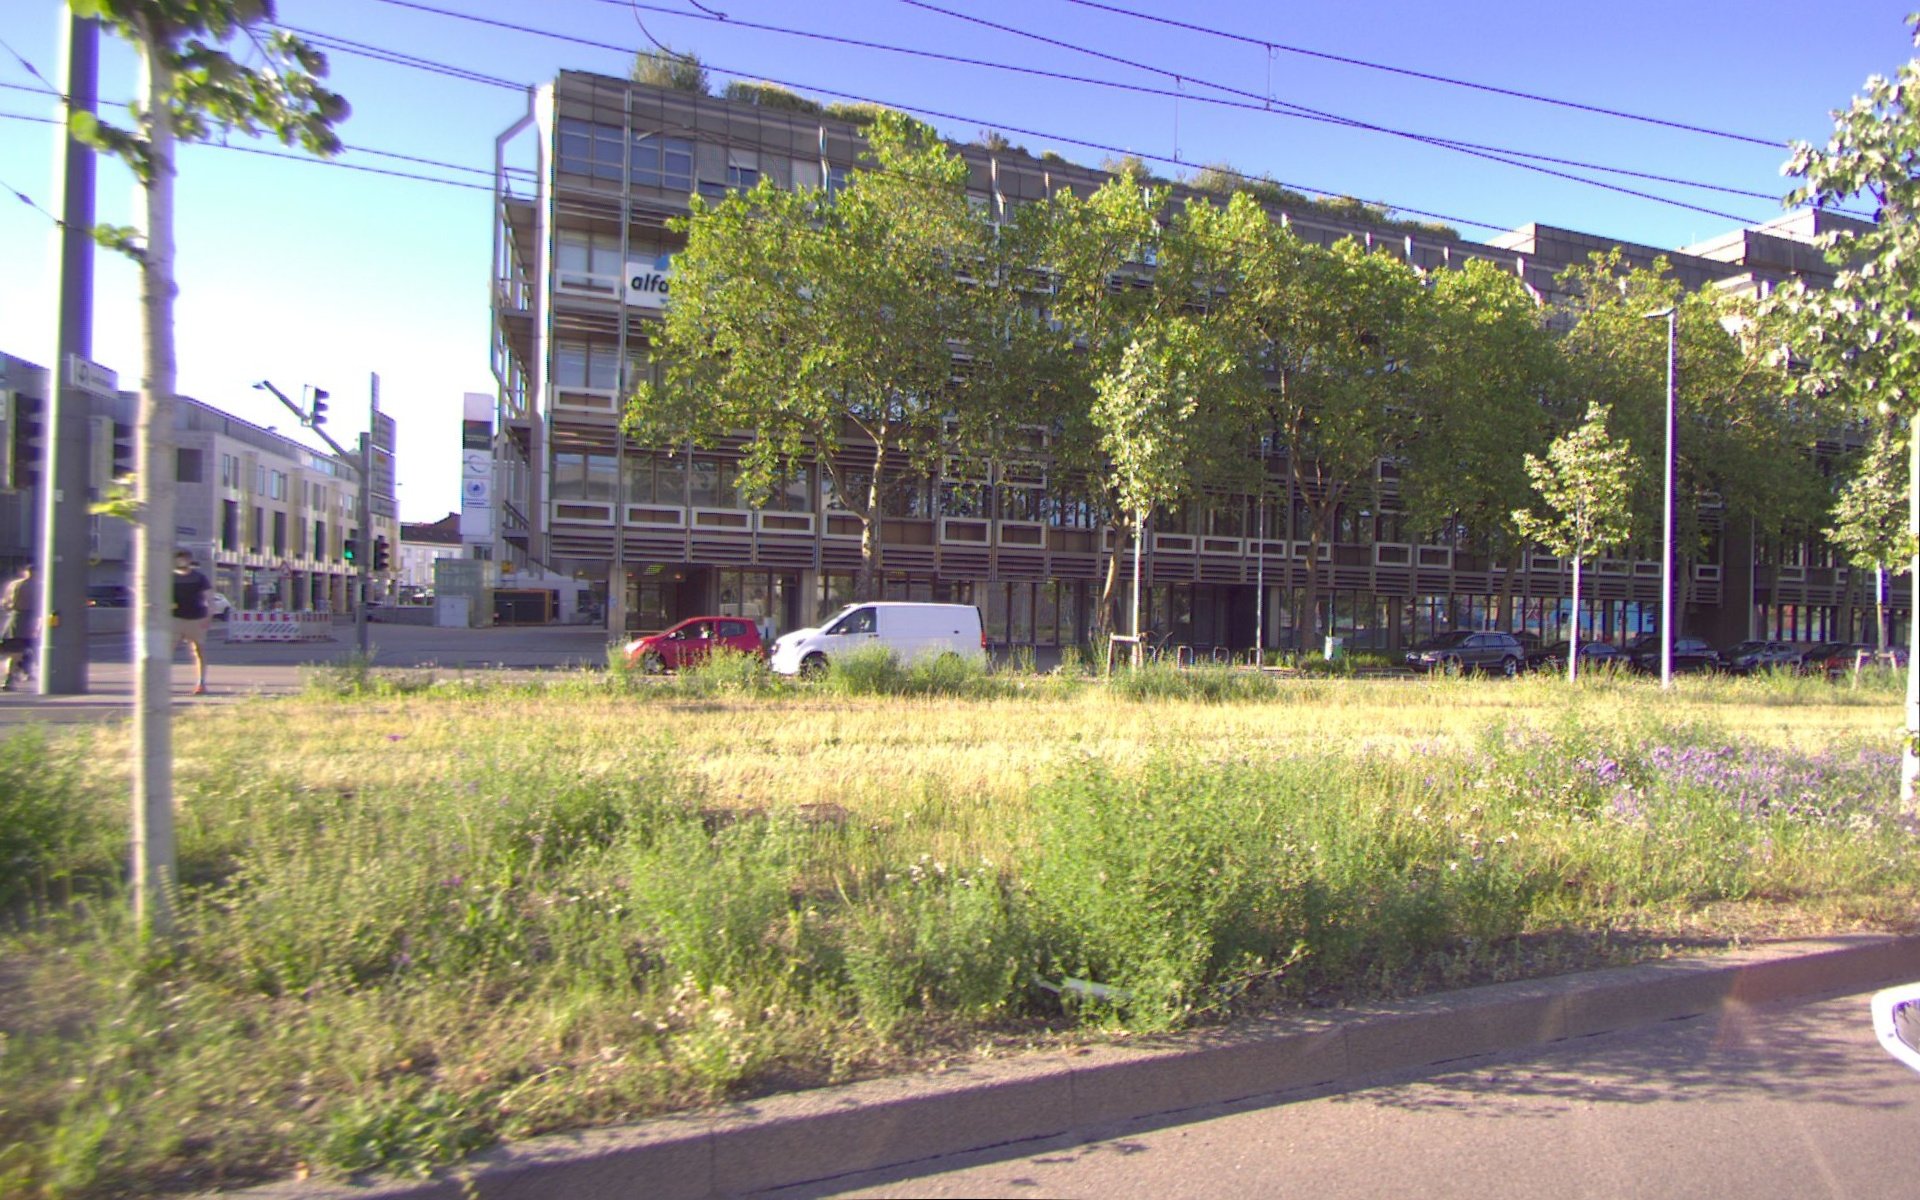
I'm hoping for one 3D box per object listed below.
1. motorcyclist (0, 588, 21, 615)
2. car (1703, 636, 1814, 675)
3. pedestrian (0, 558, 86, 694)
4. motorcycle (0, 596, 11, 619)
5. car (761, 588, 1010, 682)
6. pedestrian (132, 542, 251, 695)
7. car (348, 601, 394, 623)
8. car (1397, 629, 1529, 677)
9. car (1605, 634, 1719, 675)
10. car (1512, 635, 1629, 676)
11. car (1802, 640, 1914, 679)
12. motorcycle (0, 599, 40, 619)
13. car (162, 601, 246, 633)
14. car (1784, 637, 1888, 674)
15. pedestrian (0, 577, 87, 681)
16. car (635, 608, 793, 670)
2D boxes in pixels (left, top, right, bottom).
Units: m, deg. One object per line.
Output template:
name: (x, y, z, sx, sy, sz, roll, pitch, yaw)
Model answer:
motorcyclist: (-53.609, 0.074, 56.338, 1.024, 1.490, 0.912, 3, -1, -20)
car: (36.577, 2.545, 46.045, 4.292, 1.654, 1.910, 2, -2, -17)
pedestrian: (-12.461, 0.337, 13.502, 0.845, 1.767, 0.735, 2, 1, -21)
motorcycle: (-53.065, 0.348, 54.064, 2.636, 1.233, 0.912, 4, -1, -20)
car: (-1.815, 0.888, 24.252, 5.620, 2.040, 2.257, 2, -2, -19)
pedestrian: (-10.197, 0.247, 13.376, 1.001, 1.936, 1.044, 2, 0, -25)
car: (-42.840, 0.882, 73.145, 1.911, 1.469, 4.247, 2, -1, -17)
car: (20.067, 2.119, 40.074, 4.798, 1.702, 1.989, 2, 0, -22)
car: (30.459, 2.378, 43.577, 4.554, 1.578, 1.741, 2, 1, -21)
car: (25.336, 2.294, 41.714, 3.935, 1.541, 1.993, 2, 0, -16)
car: (36.345, 2.407, 40.687, 3.515, 1.472, 1.712, 2, -3, -15)
motorcycle: (-53.556, 0.482, 56.372, 2.636, 1.009, 0.912, 4, -1, -20)
car: (-43.395, 0.977, 57.815, 2.147, 1.714, 5.592, 2, -1, -19)
car: (41.452, 2.631, 47.541, 4.211, 1.617, 1.859, 2, -2, -19)
pedestrian: (-14.574, 0.449, 15.842, 0.884, 1.570, 0.920, 2, 1, -17)
car: (-6.390, 1.047, 25.977, 3.819, 1.505, 1.839, 2, -3, -19)
